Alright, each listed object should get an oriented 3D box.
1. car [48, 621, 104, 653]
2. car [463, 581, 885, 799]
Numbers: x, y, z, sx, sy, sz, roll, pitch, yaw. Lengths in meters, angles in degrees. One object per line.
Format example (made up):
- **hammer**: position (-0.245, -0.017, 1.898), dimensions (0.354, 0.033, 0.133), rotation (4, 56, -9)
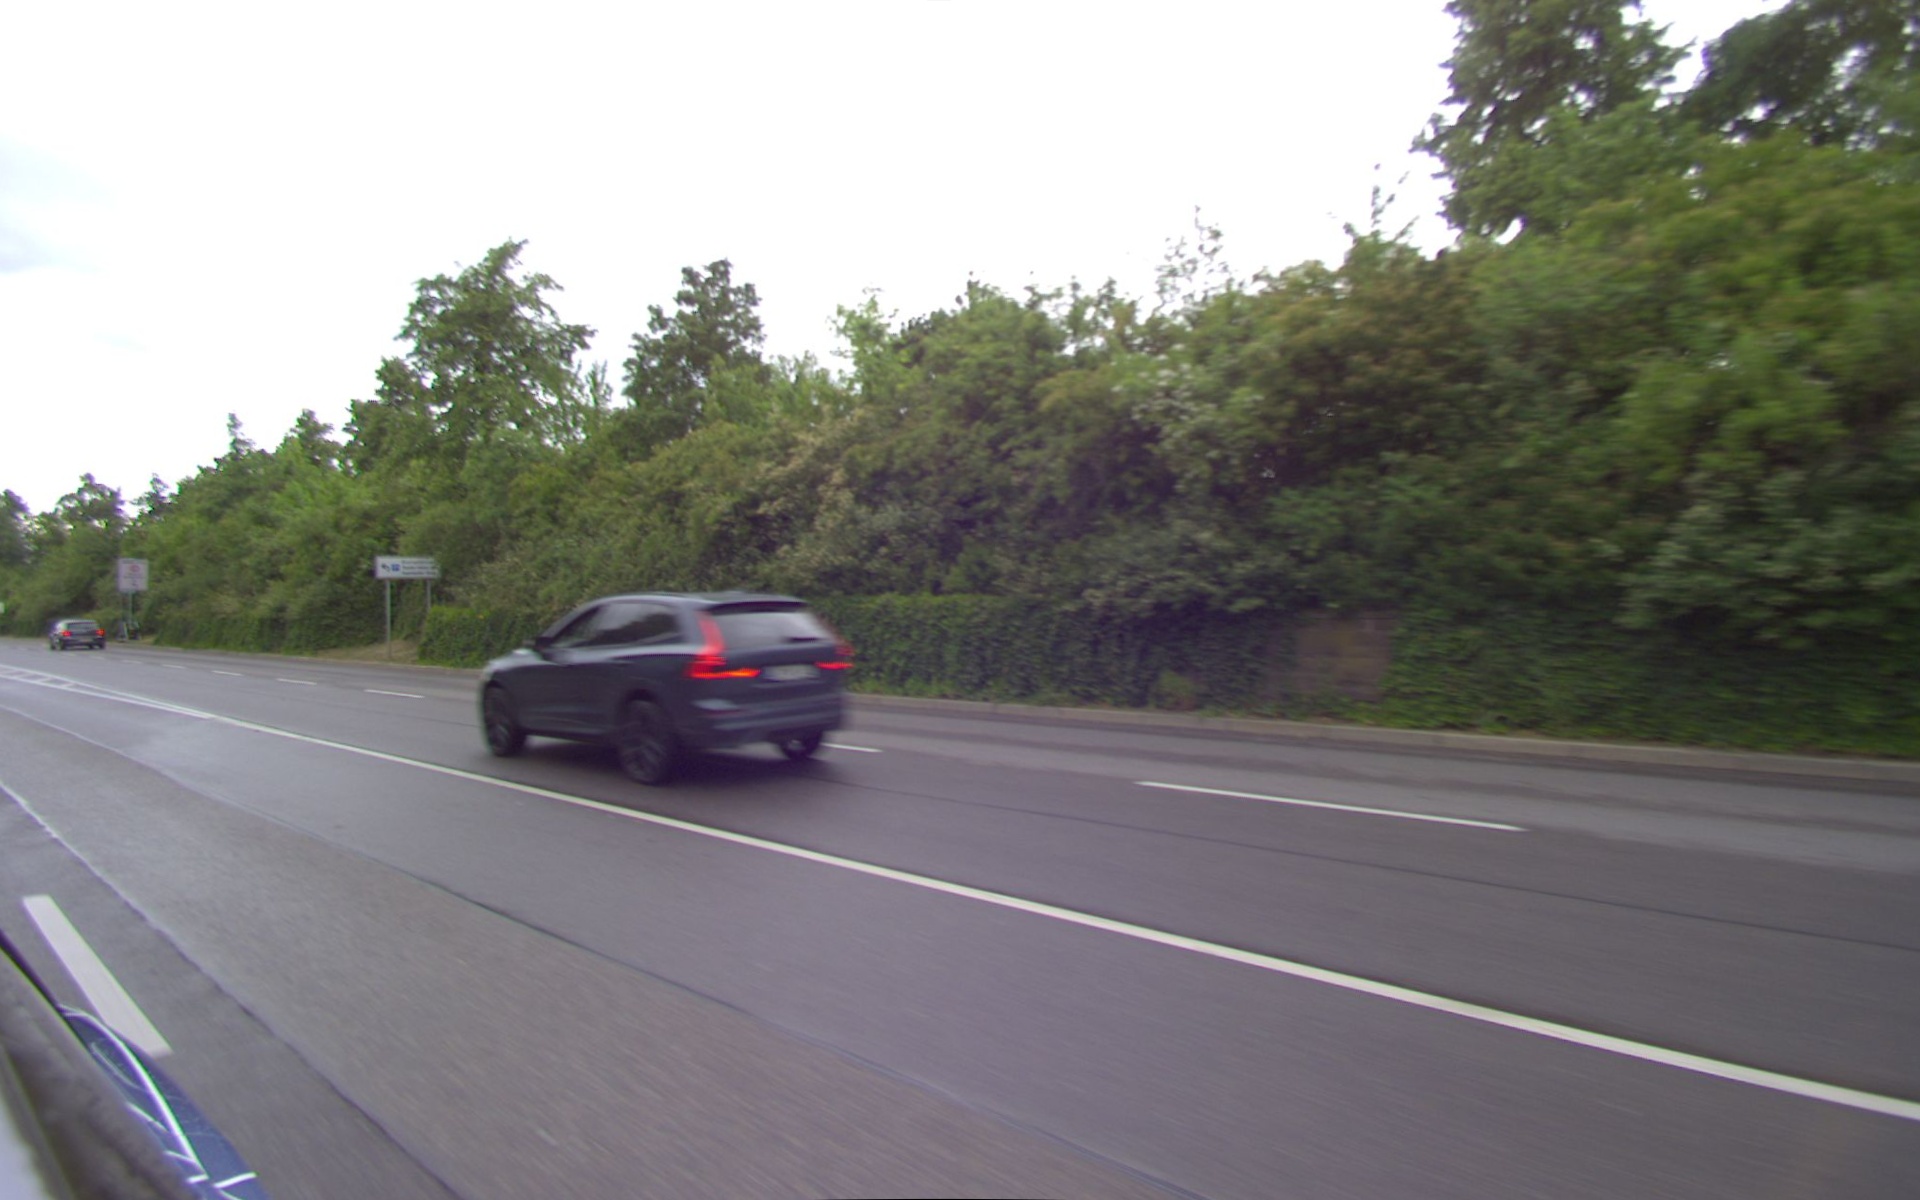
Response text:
- **car**: position (-42.220, 1.749, 48.334), dimensions (3.694, 1.448, 1.532), rotation (-1, -1, 41)
- **car**: position (-3.000, 0.734, 9.976), dimensions (4.593, 1.670, 1.793), rotation (-2, -1, 41)
